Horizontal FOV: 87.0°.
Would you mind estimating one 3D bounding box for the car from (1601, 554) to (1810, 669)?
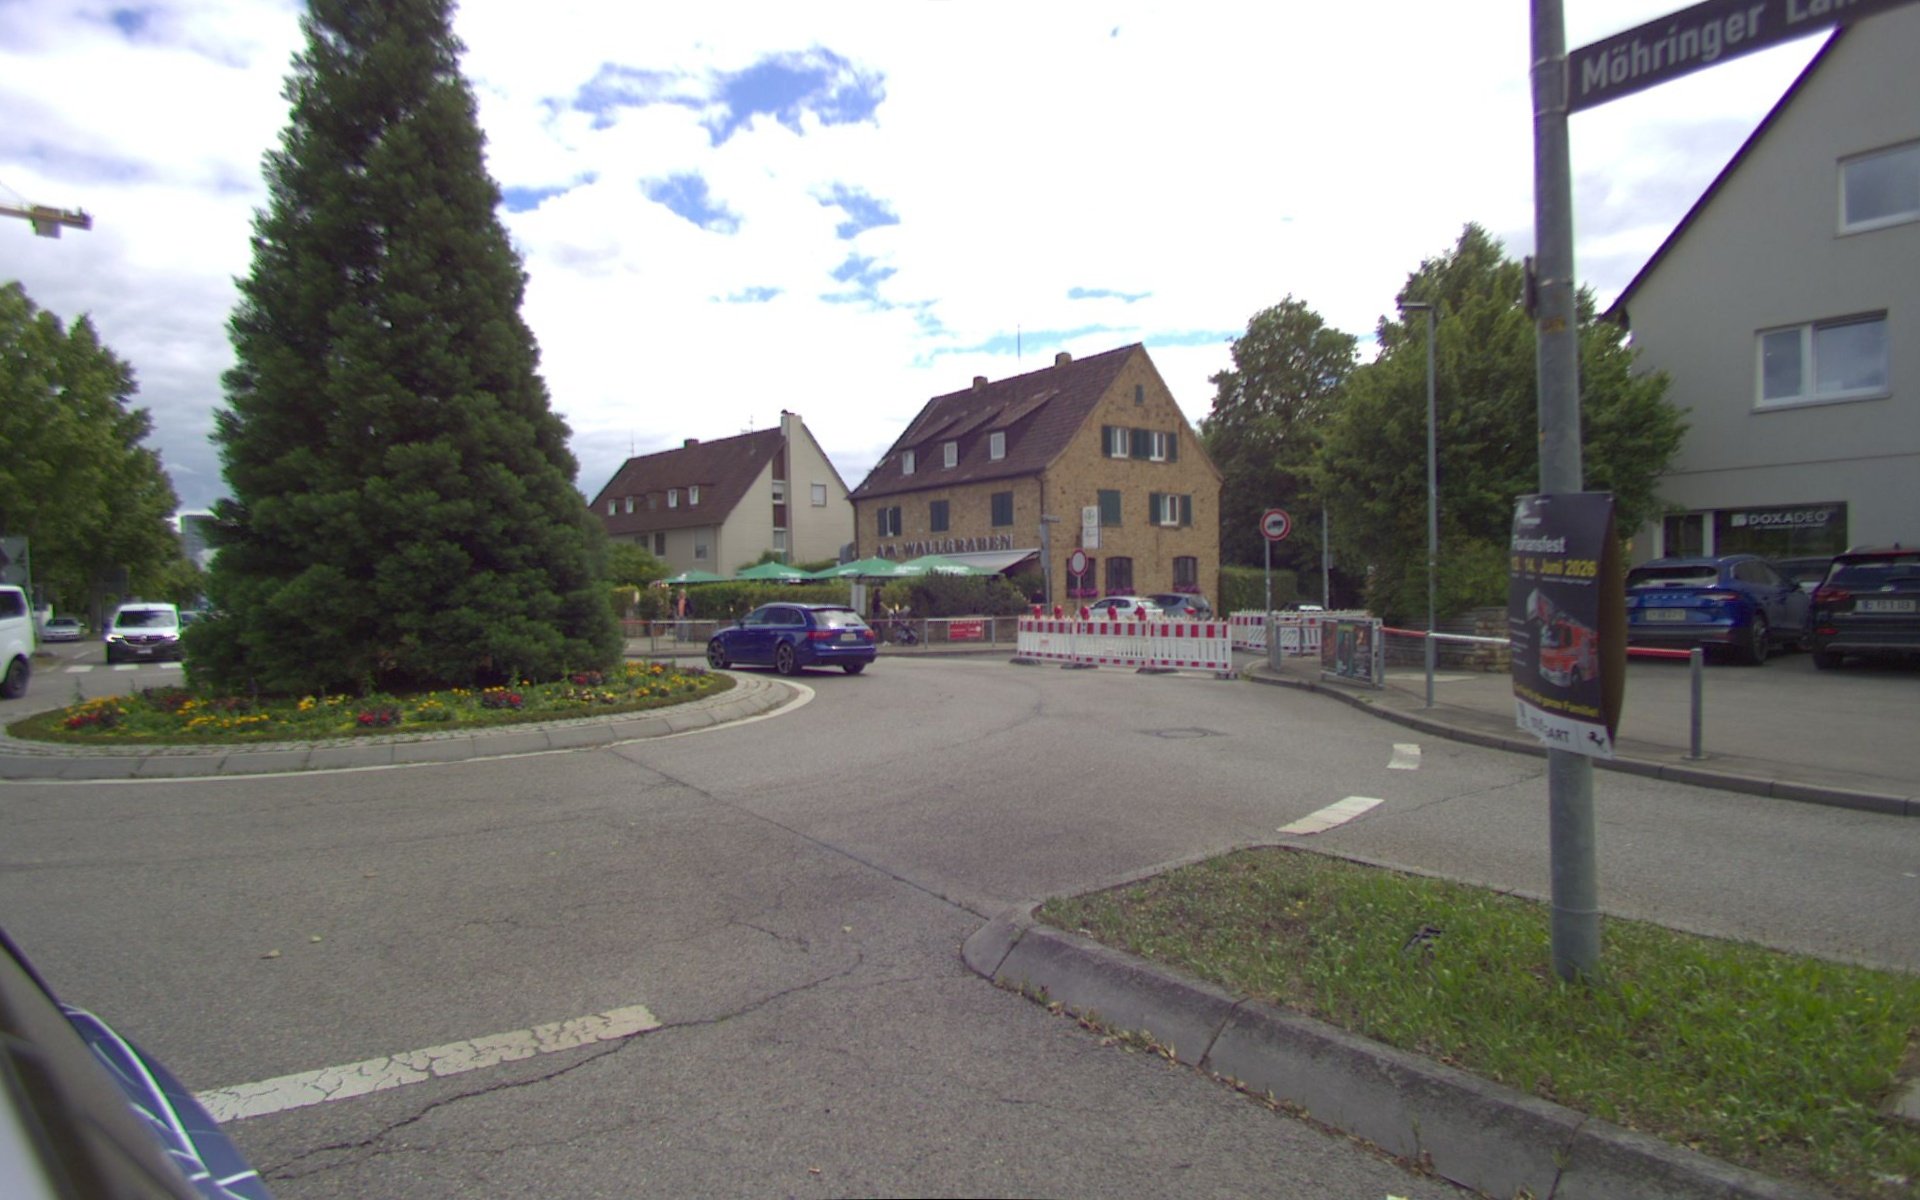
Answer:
[{"bbox_3d":[11.777,0.097,15.911,3.870,1.547,1.822,-3,2,-41],"label":"car"}]

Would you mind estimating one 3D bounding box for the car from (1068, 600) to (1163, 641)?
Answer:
[{"bbox_3d":[5.913,0.746,38.838,1.444,1.430,3.682,-1,2,-37],"label":"car"}]

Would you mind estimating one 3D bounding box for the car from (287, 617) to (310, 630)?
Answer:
[{"bbox_3d":[-62.610,2.176,95.818,1.474,1.175,3.200,-1,0,-39],"label":"car"}]

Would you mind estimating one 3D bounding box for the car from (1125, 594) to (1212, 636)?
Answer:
[{"bbox_3d":[8.163,0.557,39.809,1.375,1.512,3.237,-1,2,-37],"label":"car"}]

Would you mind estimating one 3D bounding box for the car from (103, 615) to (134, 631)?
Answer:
[{"bbox_3d":[-72.118,1.958,86.756,1.782,1.352,4.009,-1,0,-36],"label":"car"}]

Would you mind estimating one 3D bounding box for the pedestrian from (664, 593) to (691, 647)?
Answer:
[{"bbox_3d":[-9.762,0.687,34.949,0.565,1.840,0.631,-2,1,33],"label":"pedestrian"}]

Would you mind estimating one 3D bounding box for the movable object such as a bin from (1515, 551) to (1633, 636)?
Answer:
[{"bbox_3d":[22.816,-0.247,37.574,3.642,2.937,2.683,-1,0,-40],"label":"movable object such as a bin"}]

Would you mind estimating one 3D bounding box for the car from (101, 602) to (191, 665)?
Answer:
[{"bbox_3d":[-25.007,0.979,31.205,1.896,1.767,4.010,-2,1,-36],"label":"car"}]

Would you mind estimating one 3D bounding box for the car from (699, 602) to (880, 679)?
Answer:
[{"bbox_3d":[-3.628,0.743,20.882,1.589,1.382,4.514,0,0,-40],"label":"car"}]

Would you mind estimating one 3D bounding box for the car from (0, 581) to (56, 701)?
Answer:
[{"bbox_3d":[-16.893,0.712,16.004,1.966,2.029,5.066,-1,0,-18],"label":"car"}]

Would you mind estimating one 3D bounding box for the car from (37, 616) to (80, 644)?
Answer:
[{"bbox_3d":[-50.284,1.673,56.436,1.755,1.465,4.175,0,-1,-42],"label":"car"}]

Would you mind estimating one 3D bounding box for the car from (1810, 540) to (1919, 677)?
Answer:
[{"bbox_3d":[13.178,0.032,13.680,3.868,1.674,1.859,-3,3,-39],"label":"car"}]

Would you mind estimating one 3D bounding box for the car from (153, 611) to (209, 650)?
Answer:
[{"bbox_3d":[-33.711,1.286,43.878,1.750,1.566,4.010,-2,1,-35],"label":"car"}]

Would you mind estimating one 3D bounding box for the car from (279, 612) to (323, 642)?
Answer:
[{"bbox_3d":[-33.381,1.355,51.291,1.777,1.465,4.705,0,-1,-33],"label":"car"}]
